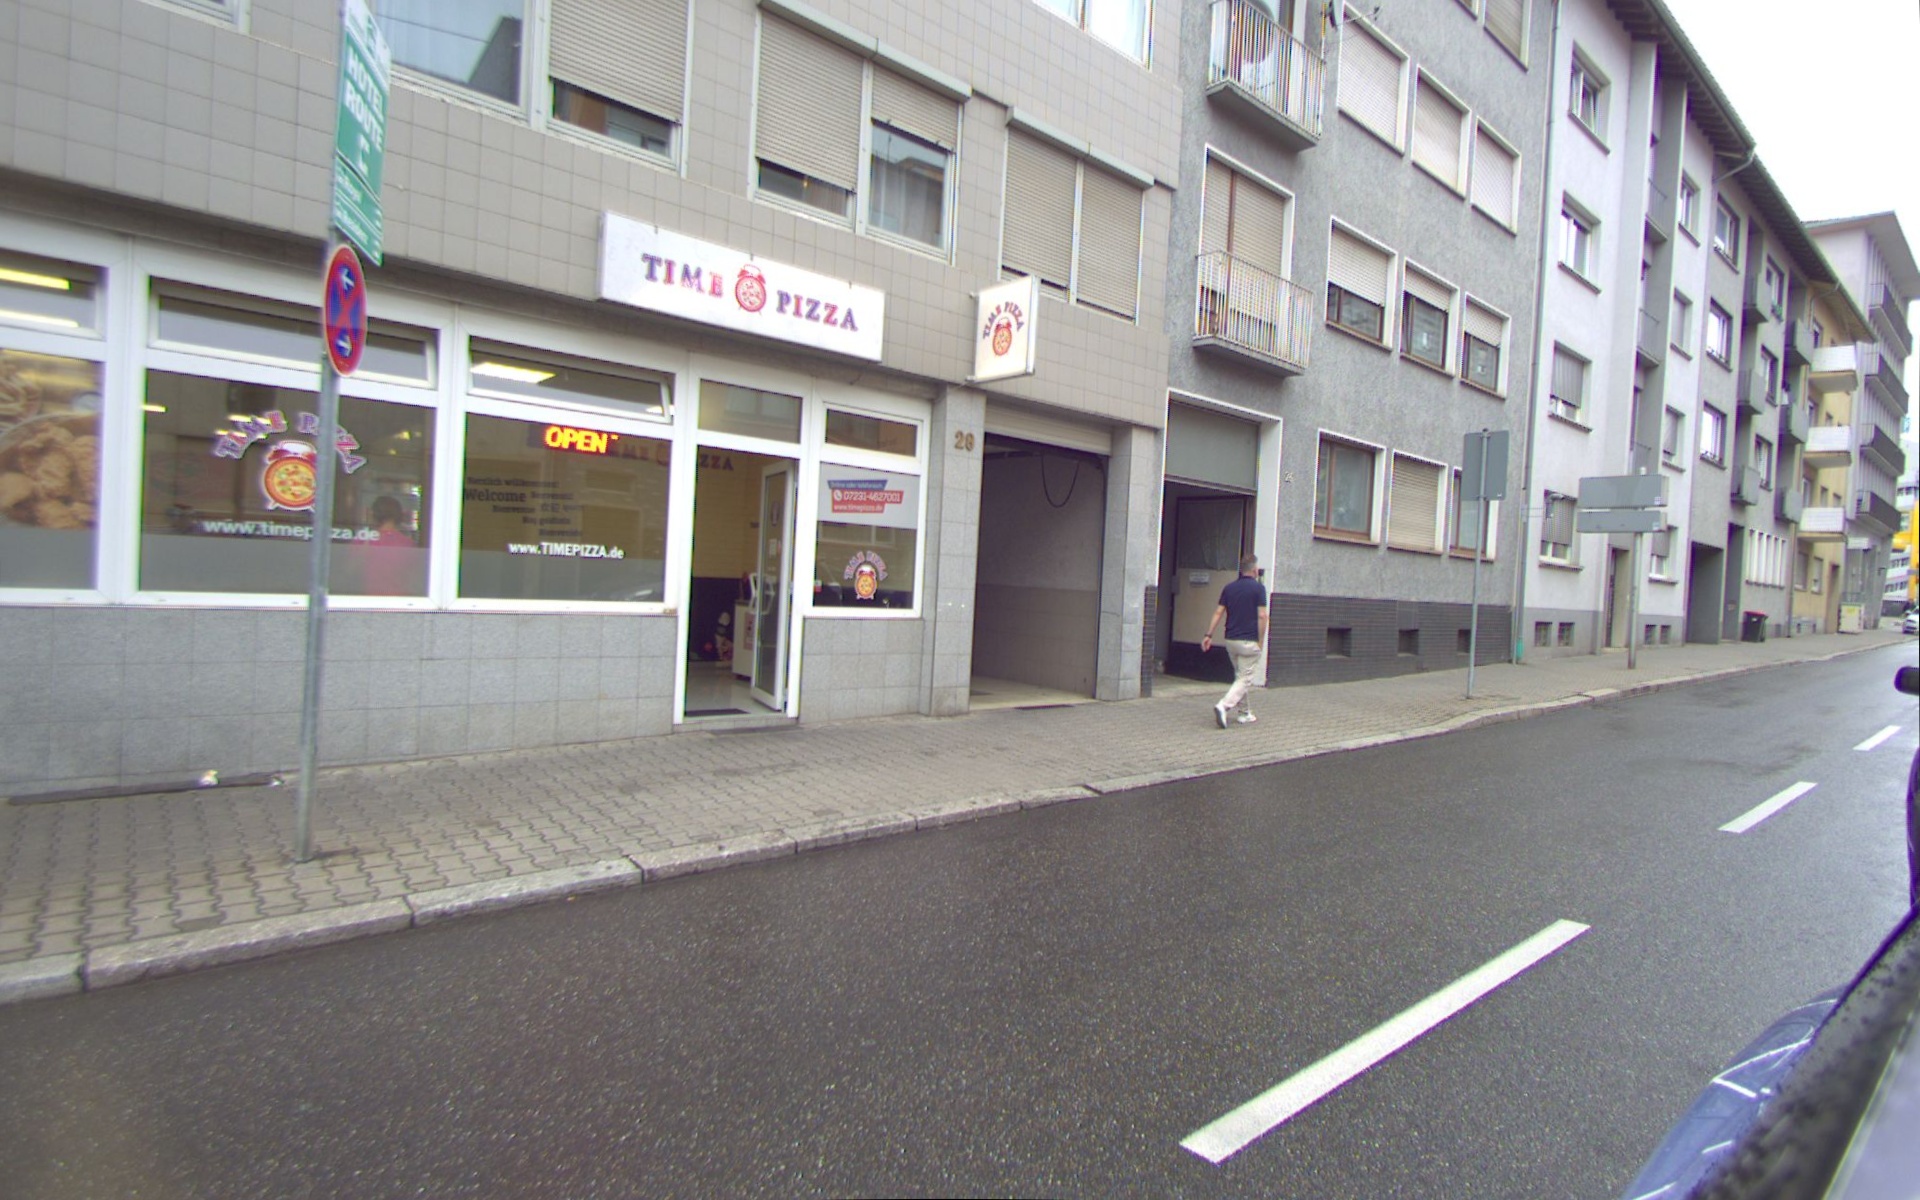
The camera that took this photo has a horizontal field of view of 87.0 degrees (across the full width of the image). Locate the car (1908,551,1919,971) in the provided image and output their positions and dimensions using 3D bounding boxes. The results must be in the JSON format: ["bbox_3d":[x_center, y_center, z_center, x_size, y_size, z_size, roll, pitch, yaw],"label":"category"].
[{"bbox_3d":[6.071,0.650,4.933,4.144,1.743,1.697,-1,0,-41],"label":"car"}]

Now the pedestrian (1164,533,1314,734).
[{"bbox_3d":[2.864,0.300,10.413,1.100,1.887,0.871,0,7,-41],"label":"pedestrian"}]

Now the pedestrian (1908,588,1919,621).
[{"bbox_3d":[53.193,0.245,55.914,1.117,1.772,0.946,4,3,44],"label":"pedestrian"}]
